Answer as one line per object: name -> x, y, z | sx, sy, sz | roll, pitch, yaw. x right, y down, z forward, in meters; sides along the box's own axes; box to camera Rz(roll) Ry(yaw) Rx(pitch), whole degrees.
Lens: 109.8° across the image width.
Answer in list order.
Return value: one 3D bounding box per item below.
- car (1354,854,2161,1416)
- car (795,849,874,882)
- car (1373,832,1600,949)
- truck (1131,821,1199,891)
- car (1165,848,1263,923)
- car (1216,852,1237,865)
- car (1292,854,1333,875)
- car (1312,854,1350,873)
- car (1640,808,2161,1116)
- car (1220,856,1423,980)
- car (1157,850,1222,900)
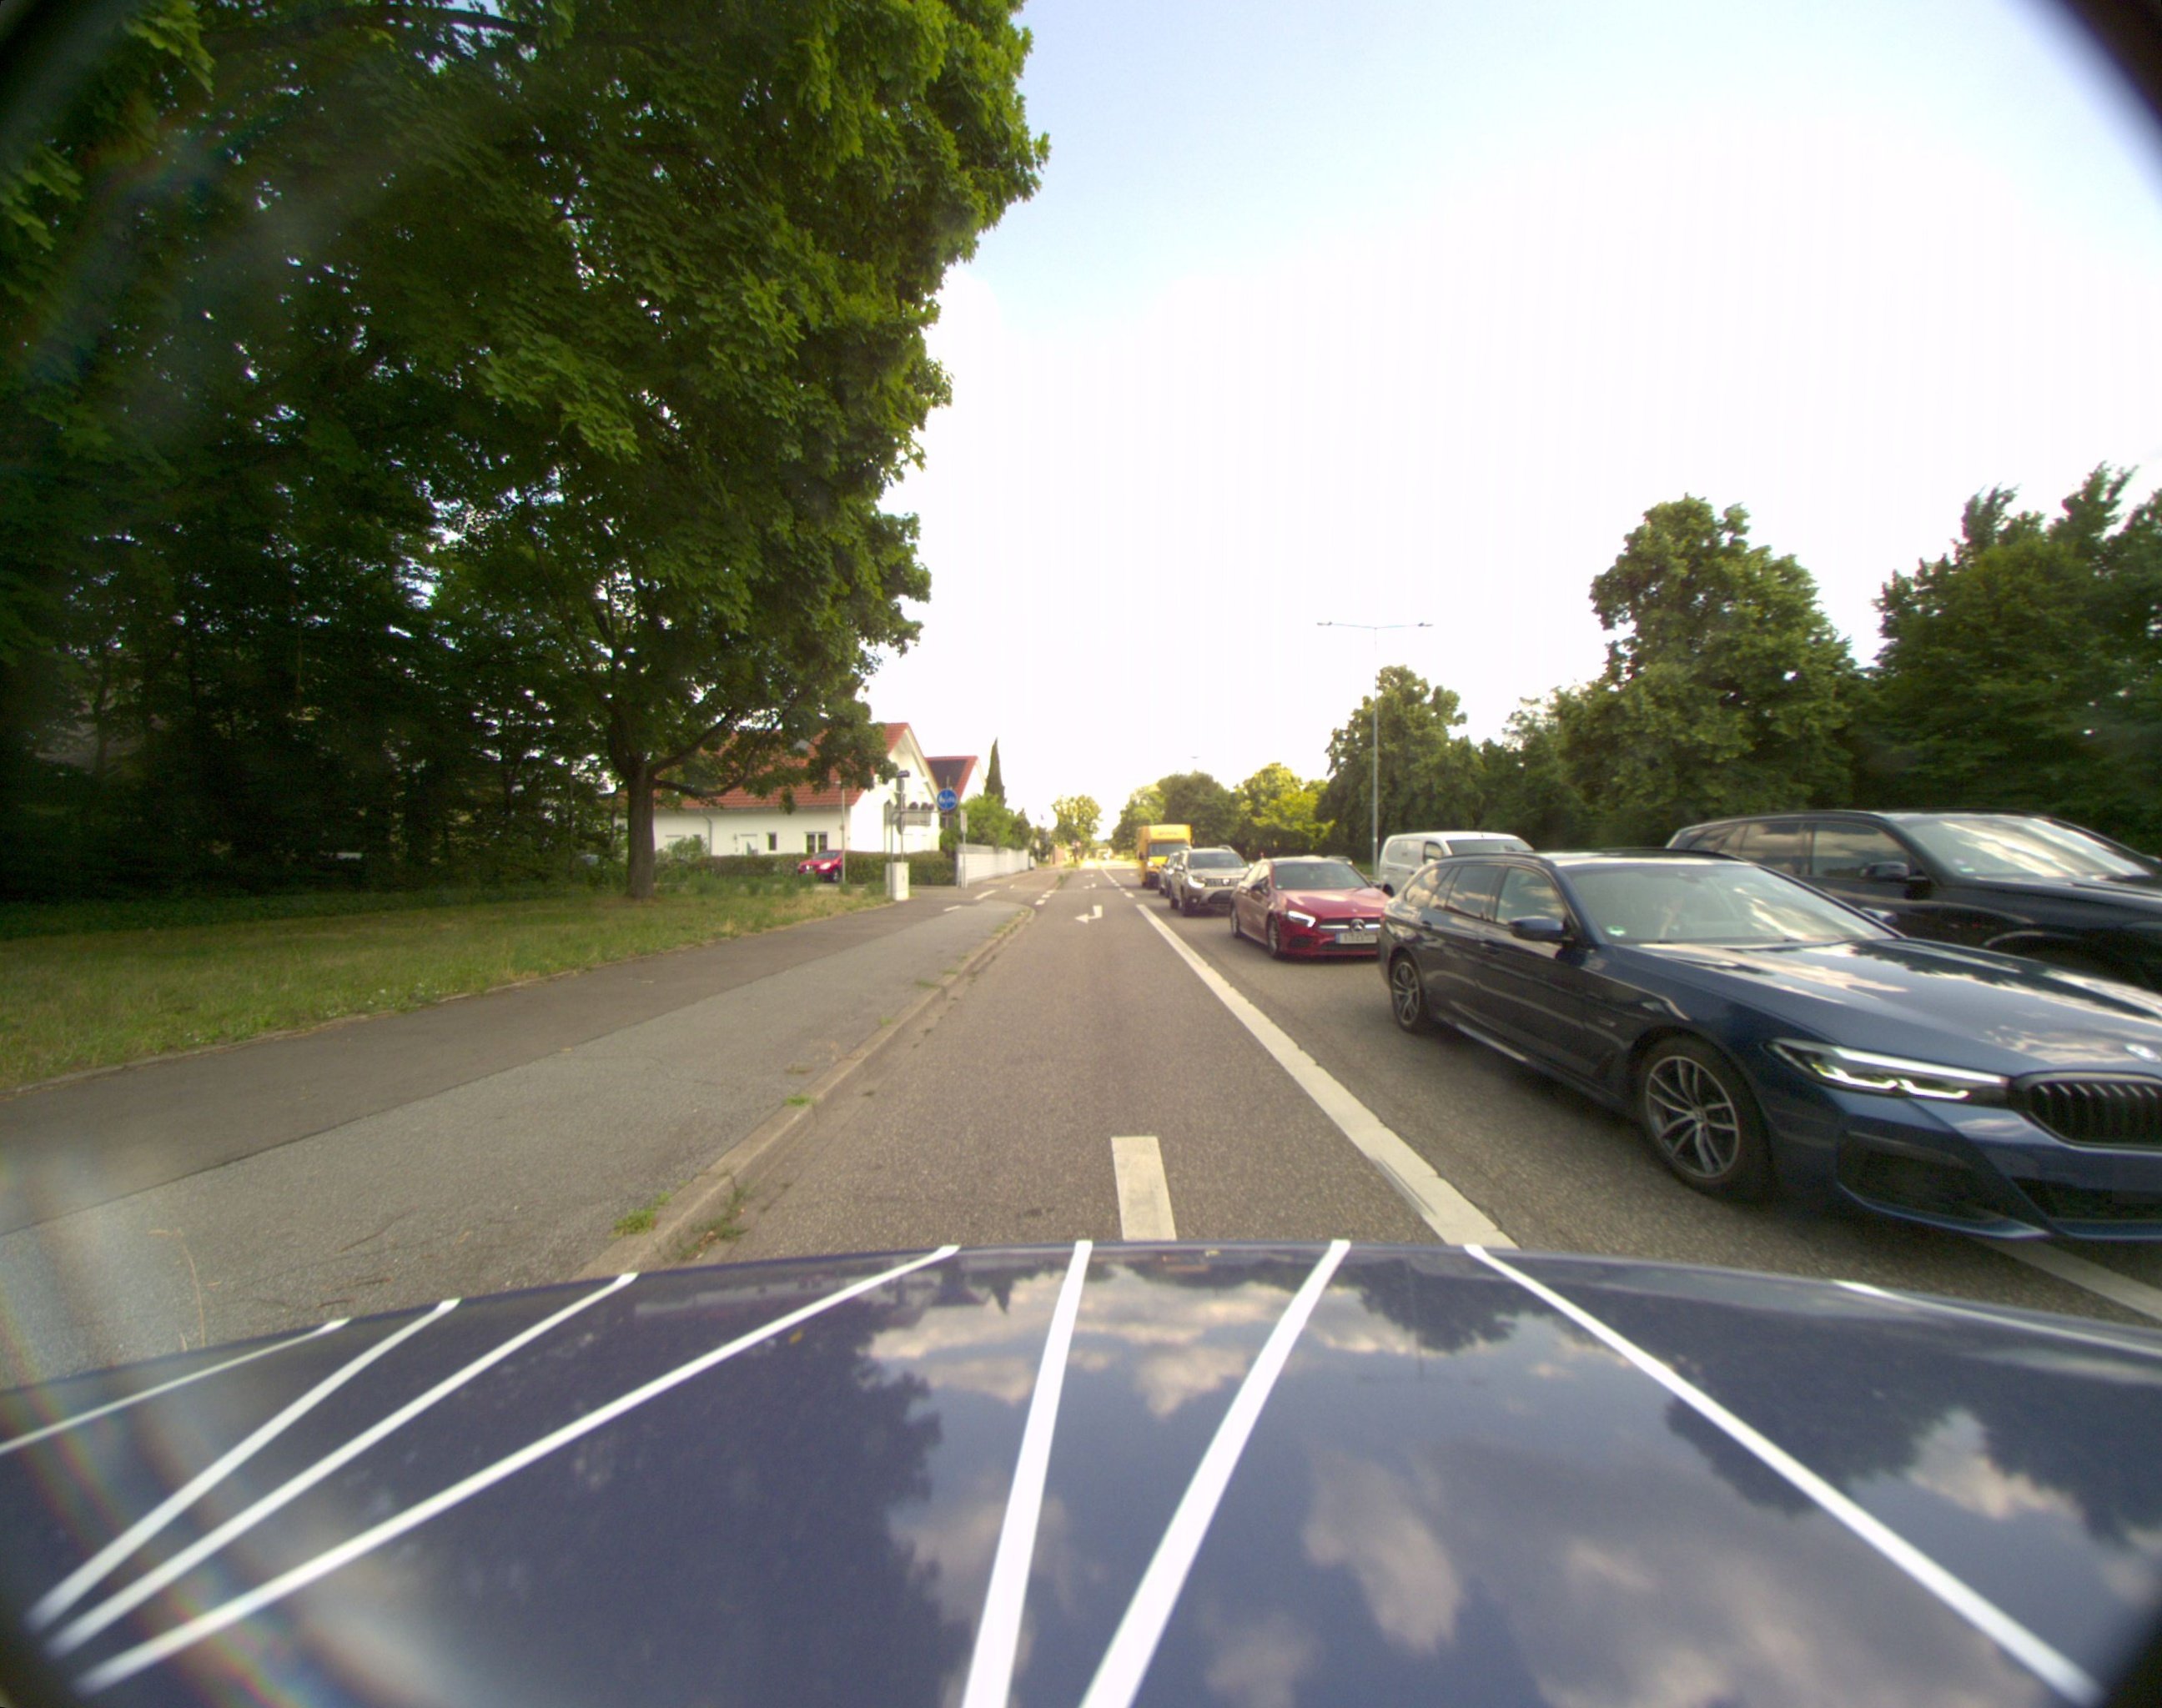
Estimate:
car -> 3.419, 0.807, 4.592 | 1.801, 1.488, 4.872 | -2, 1, 1
car -> -11.845, 0.533, 36.849 | 1.679, 1.521, 4.397 | 0, 0, 11
car -> 7.241, 0.546, 14.234 | 1.770, 1.788, 4.730 | -1, 1, 1
truck -> 3.751, 0.057, 35.323 | 2.363, 2.843, 6.966 | -2, 0, 1
car -> 3.193, 0.695, 18.964 | 1.727, 1.602, 4.175 | -2, 1, 1
car -> 16.905, 0.485, 88.260 | 1.672, 1.379, 3.999 | -2, 1, 1
car -> 16.649, 0.731, 54.768 | 1.672, 1.416, 4.238 | 0, 0, 1
car -> 20.144, 0.723, 61.403 | 1.672, 1.379, 4.237 | 1, 1, 1
car -> 7.016, 0.569, 6.049 | 1.817, 1.736, 4.549 | -1, 1, 1
car -> 3.436, 0.809, 11.811 | 1.727, 1.454, 4.535 | -2, 0, 1
car -> 3.726, 0.674, 26.752 | 1.727, 1.522, 3.893 | -2, 1, 1
